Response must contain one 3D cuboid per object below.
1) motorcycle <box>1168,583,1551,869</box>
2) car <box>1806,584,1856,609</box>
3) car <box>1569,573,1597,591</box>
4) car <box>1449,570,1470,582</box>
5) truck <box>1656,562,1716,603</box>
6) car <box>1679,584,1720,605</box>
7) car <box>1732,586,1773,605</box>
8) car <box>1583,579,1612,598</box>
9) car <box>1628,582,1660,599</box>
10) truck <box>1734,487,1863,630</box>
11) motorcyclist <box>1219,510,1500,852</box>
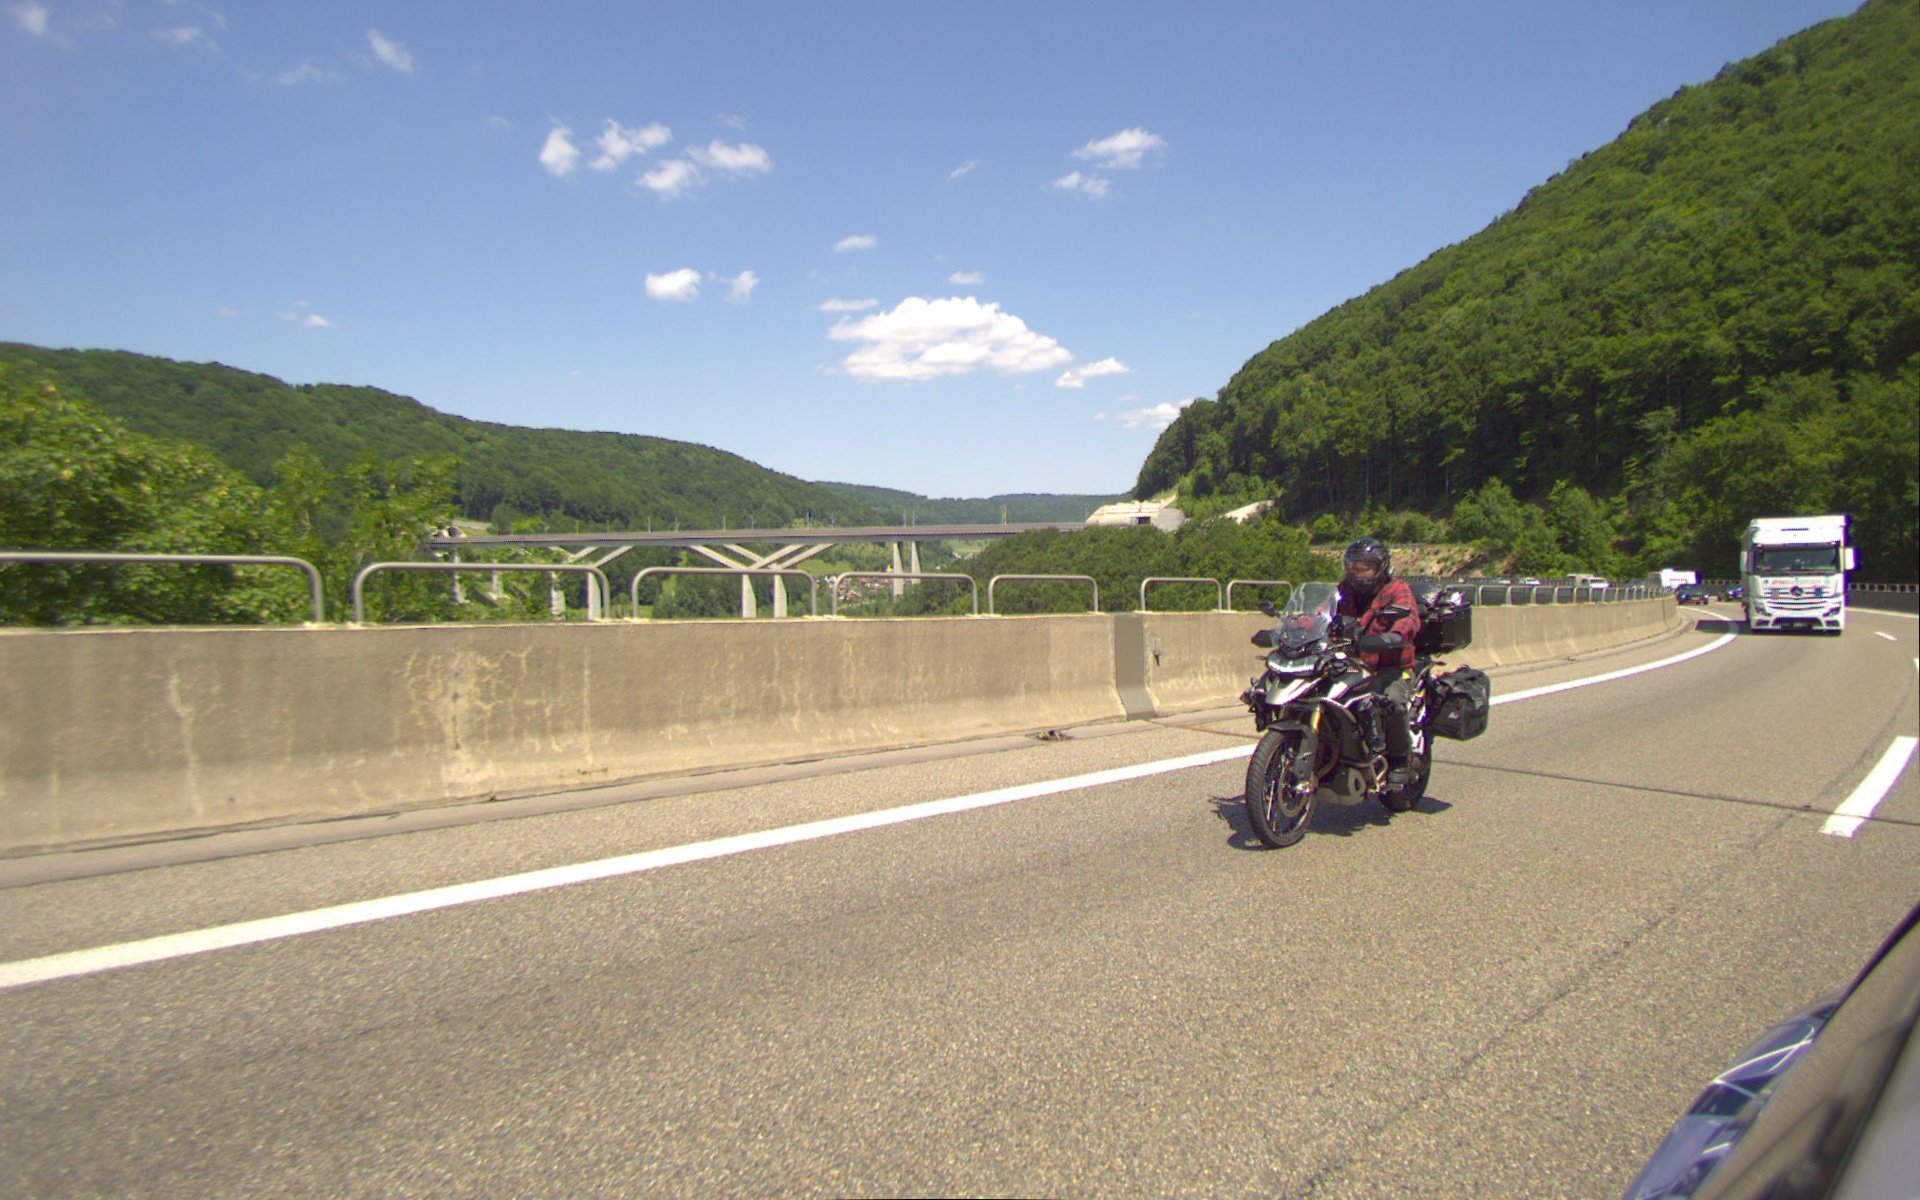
[{"bbox_3d":[2.562,0.623,6.299,2.631,1.437,0.975,0,1,-37],"label":"motorcycle"},{"bbox_3d":[53.972,-0.246,62.788,1.744,1.507,3.936,1,1,32],"label":"car"},{"bbox_3d":[72.381,-2.129,117.684,1.975,2.039,3.974,1,1,20],"label":"car"},{"bbox_3d":[86.120,-4.126,174.610,1.965,2.038,3.995,1,1,6],"label":"car"},{"bbox_3d":[58.736,-1.410,82.035,2.591,3.140,6.798,1,1,25],"label":"truck"},{"bbox_3d":[56.391,-0.451,77.227,1.738,1.507,3.949,1,1,25],"label":"car"},{"bbox_3d":[64.283,-0.377,82.163,1.983,1.471,3.959,1,1,29],"label":"car"},{"bbox_3d":[70.499,-1.260,111.923,1.976,2.039,3.971,1,1,22],"label":"car"},{"bbox_3d":[75.887,-1.100,112.281,1.975,1.816,3.974,1,1,20],"label":"car"},{"bbox_3d":[30.551,-1.330,36.753,2.958,4.184,16.462,1,1,41],"label":"truck"},{"bbox_3d":[2.452,0.416,6.223,1.313,1.823,1.064,0,1,-37],"label":"motorcyclist"}]
